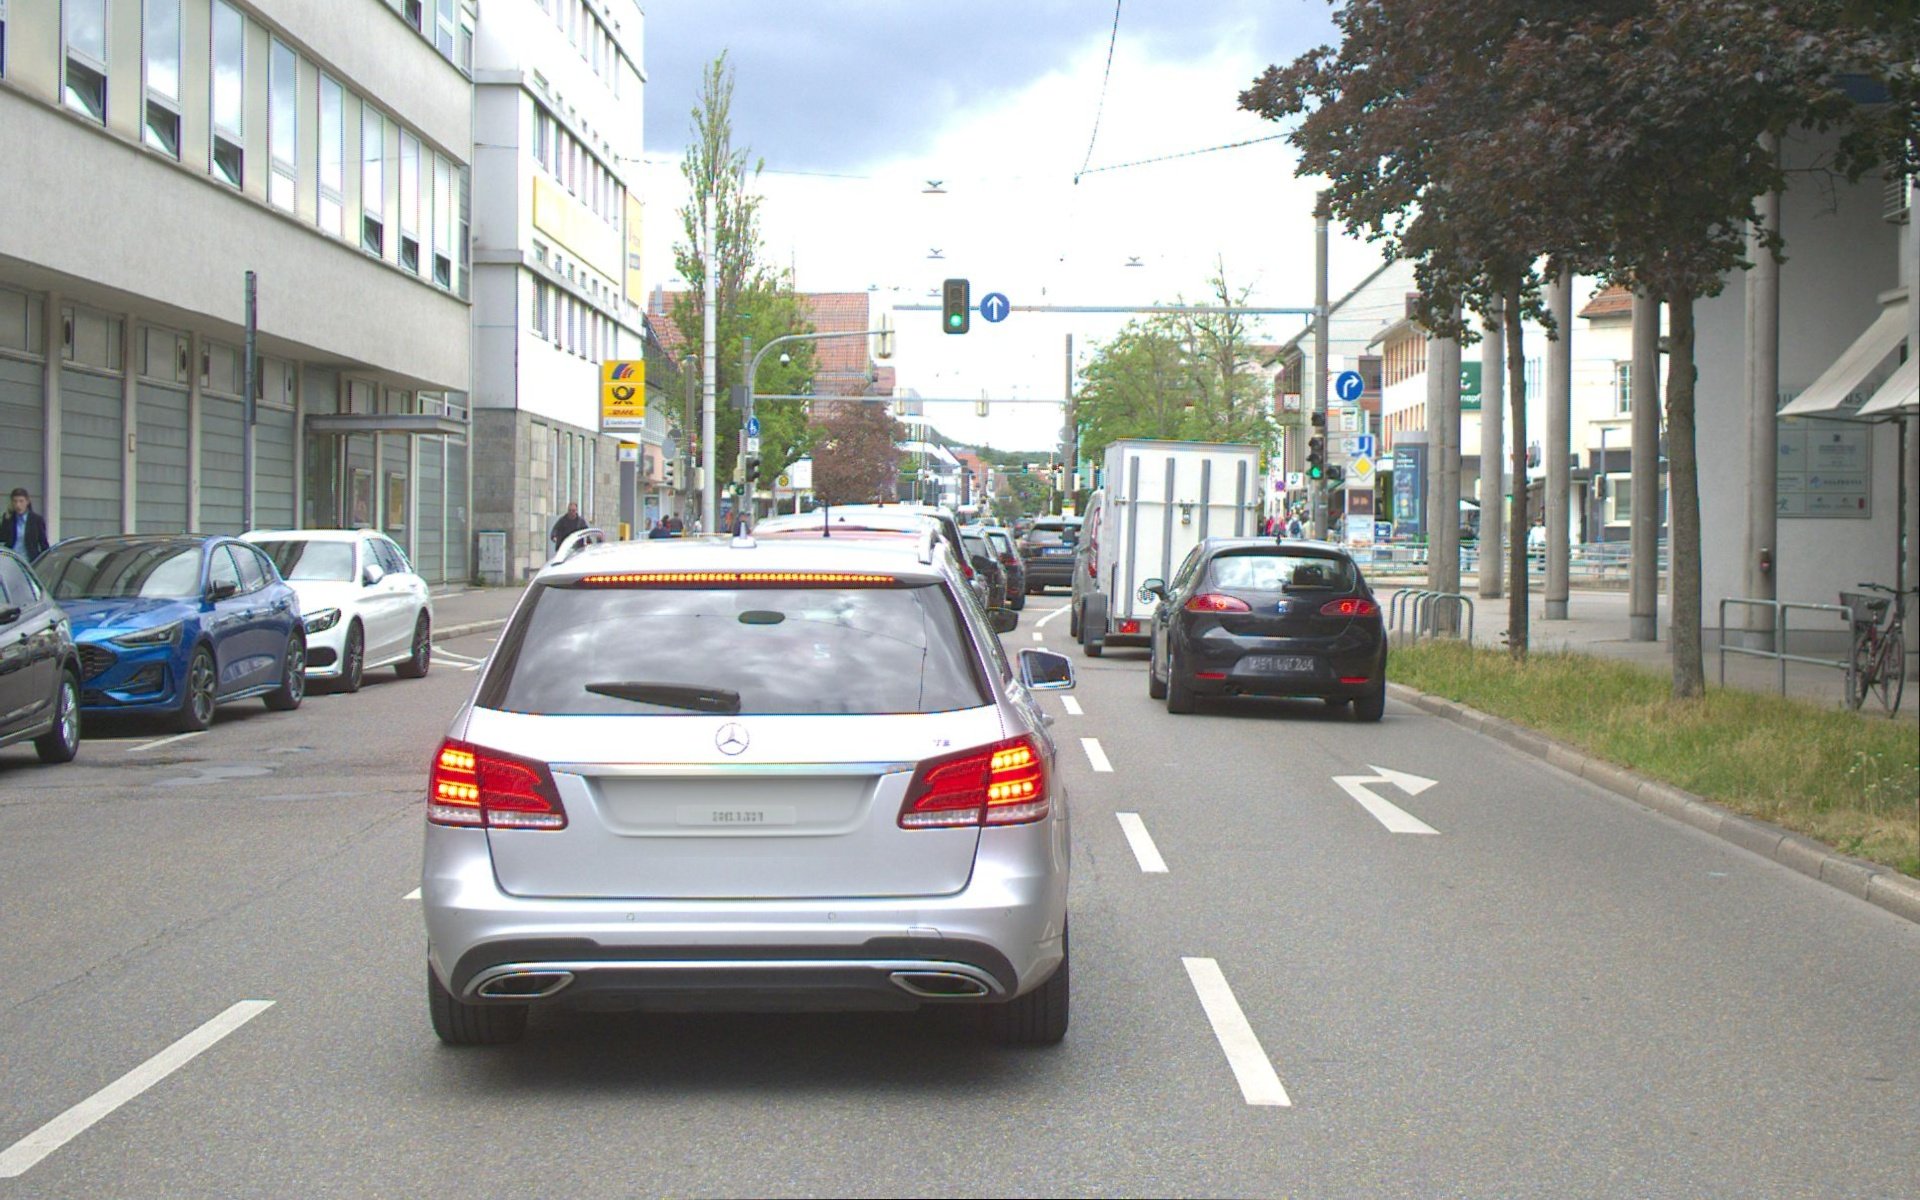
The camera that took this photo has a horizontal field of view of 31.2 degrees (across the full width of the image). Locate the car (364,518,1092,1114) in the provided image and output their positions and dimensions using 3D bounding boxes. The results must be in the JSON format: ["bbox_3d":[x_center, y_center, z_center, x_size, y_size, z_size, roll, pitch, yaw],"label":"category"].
[{"bbox_3d":[-0.640,0.504,10.849,1.845,1.503,4.172,0,1,-1],"label":"car"}]

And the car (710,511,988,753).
[{"bbox_3d":[-0.743,0.151,23.529,1.734,1.503,4.001,0,1,-1],"label":"car"}]

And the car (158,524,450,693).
[{"bbox_3d":[-6.073,0.023,32.326,1.670,1.429,4.553,-1,1,2],"label":"car"}]

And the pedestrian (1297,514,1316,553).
[{"bbox_3d":[13.149,-2.519,130.397,0.578,1.464,0.651,2,1,-4],"label":"pedestrian"}]

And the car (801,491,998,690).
[{"bbox_3d":[-0.584,-0.137,32.406,1.734,1.753,4.001,0,1,-1],"label":"car"}]

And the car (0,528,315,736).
[{"bbox_3d":[-6.347,0.185,26.347,1.815,1.421,4.264,-1,1,2],"label":"car"}]

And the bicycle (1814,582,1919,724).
[{"bbox_3d":[7.476,0.416,28.175,0.361,1.083,2.028,2,1,-1],"label":"bicycle"}]

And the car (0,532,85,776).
[{"bbox_3d":[-6.537,0.334,20.498,1.716,1.420,3.871,-1,1,-1],"label":"car"}]

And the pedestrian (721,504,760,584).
[{"bbox_3d":[-4.770,-1.221,74.590,0.648,1.712,0.782,2,2,8],"label":"pedestrian"}]

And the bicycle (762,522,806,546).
[{"bbox_3d":[-8.060,-3.015,157.474,1.937,1.025,0.530,2,1,-8],"label":"bicycle"}]

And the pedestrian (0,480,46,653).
[{"bbox_3d":[-9.503,-0.337,34.337,0.589,1.712,0.650,0,1,-1],"label":"pedestrian"}]

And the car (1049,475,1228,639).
[{"bbox_3d":[2.277,-0.595,45.049,1.877,1.939,4.907,3,1,-1],"label":"car"}]

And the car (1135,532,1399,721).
[{"bbox_3d":[2.480,0.168,28.636,1.734,1.406,4.001,0,2,-1],"label":"car"}]

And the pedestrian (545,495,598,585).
[{"bbox_3d":[-7.498,-1.162,66.394,0.861,1.712,1.032,2,1,-1],"label":"pedestrian"}]

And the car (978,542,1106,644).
[{"bbox_3d":[1.205,-0.132,51.989,1.734,1.406,4.001,0,2,-1],"label":"car"}]

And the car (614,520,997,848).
[{"bbox_3d":[-0.701,0.345,18.020,1.734,1.503,4.000,1,1,1],"label":"car"}]

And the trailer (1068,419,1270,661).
[{"bbox_3d":[2.394,-0.726,40.443,1.877,2.604,4.323,3,1,-1],"label":"trailer"}]

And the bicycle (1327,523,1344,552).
[{"bbox_3d":[14.369,-2.389,131.624,0.448,1.103,2.149,1,1,2],"label":"bicycle"}]

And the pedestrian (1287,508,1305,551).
[{"bbox_3d":[13.030,-2.728,133.220,0.578,1.660,0.651,2,1,-1],"label":"pedestrian"}]
